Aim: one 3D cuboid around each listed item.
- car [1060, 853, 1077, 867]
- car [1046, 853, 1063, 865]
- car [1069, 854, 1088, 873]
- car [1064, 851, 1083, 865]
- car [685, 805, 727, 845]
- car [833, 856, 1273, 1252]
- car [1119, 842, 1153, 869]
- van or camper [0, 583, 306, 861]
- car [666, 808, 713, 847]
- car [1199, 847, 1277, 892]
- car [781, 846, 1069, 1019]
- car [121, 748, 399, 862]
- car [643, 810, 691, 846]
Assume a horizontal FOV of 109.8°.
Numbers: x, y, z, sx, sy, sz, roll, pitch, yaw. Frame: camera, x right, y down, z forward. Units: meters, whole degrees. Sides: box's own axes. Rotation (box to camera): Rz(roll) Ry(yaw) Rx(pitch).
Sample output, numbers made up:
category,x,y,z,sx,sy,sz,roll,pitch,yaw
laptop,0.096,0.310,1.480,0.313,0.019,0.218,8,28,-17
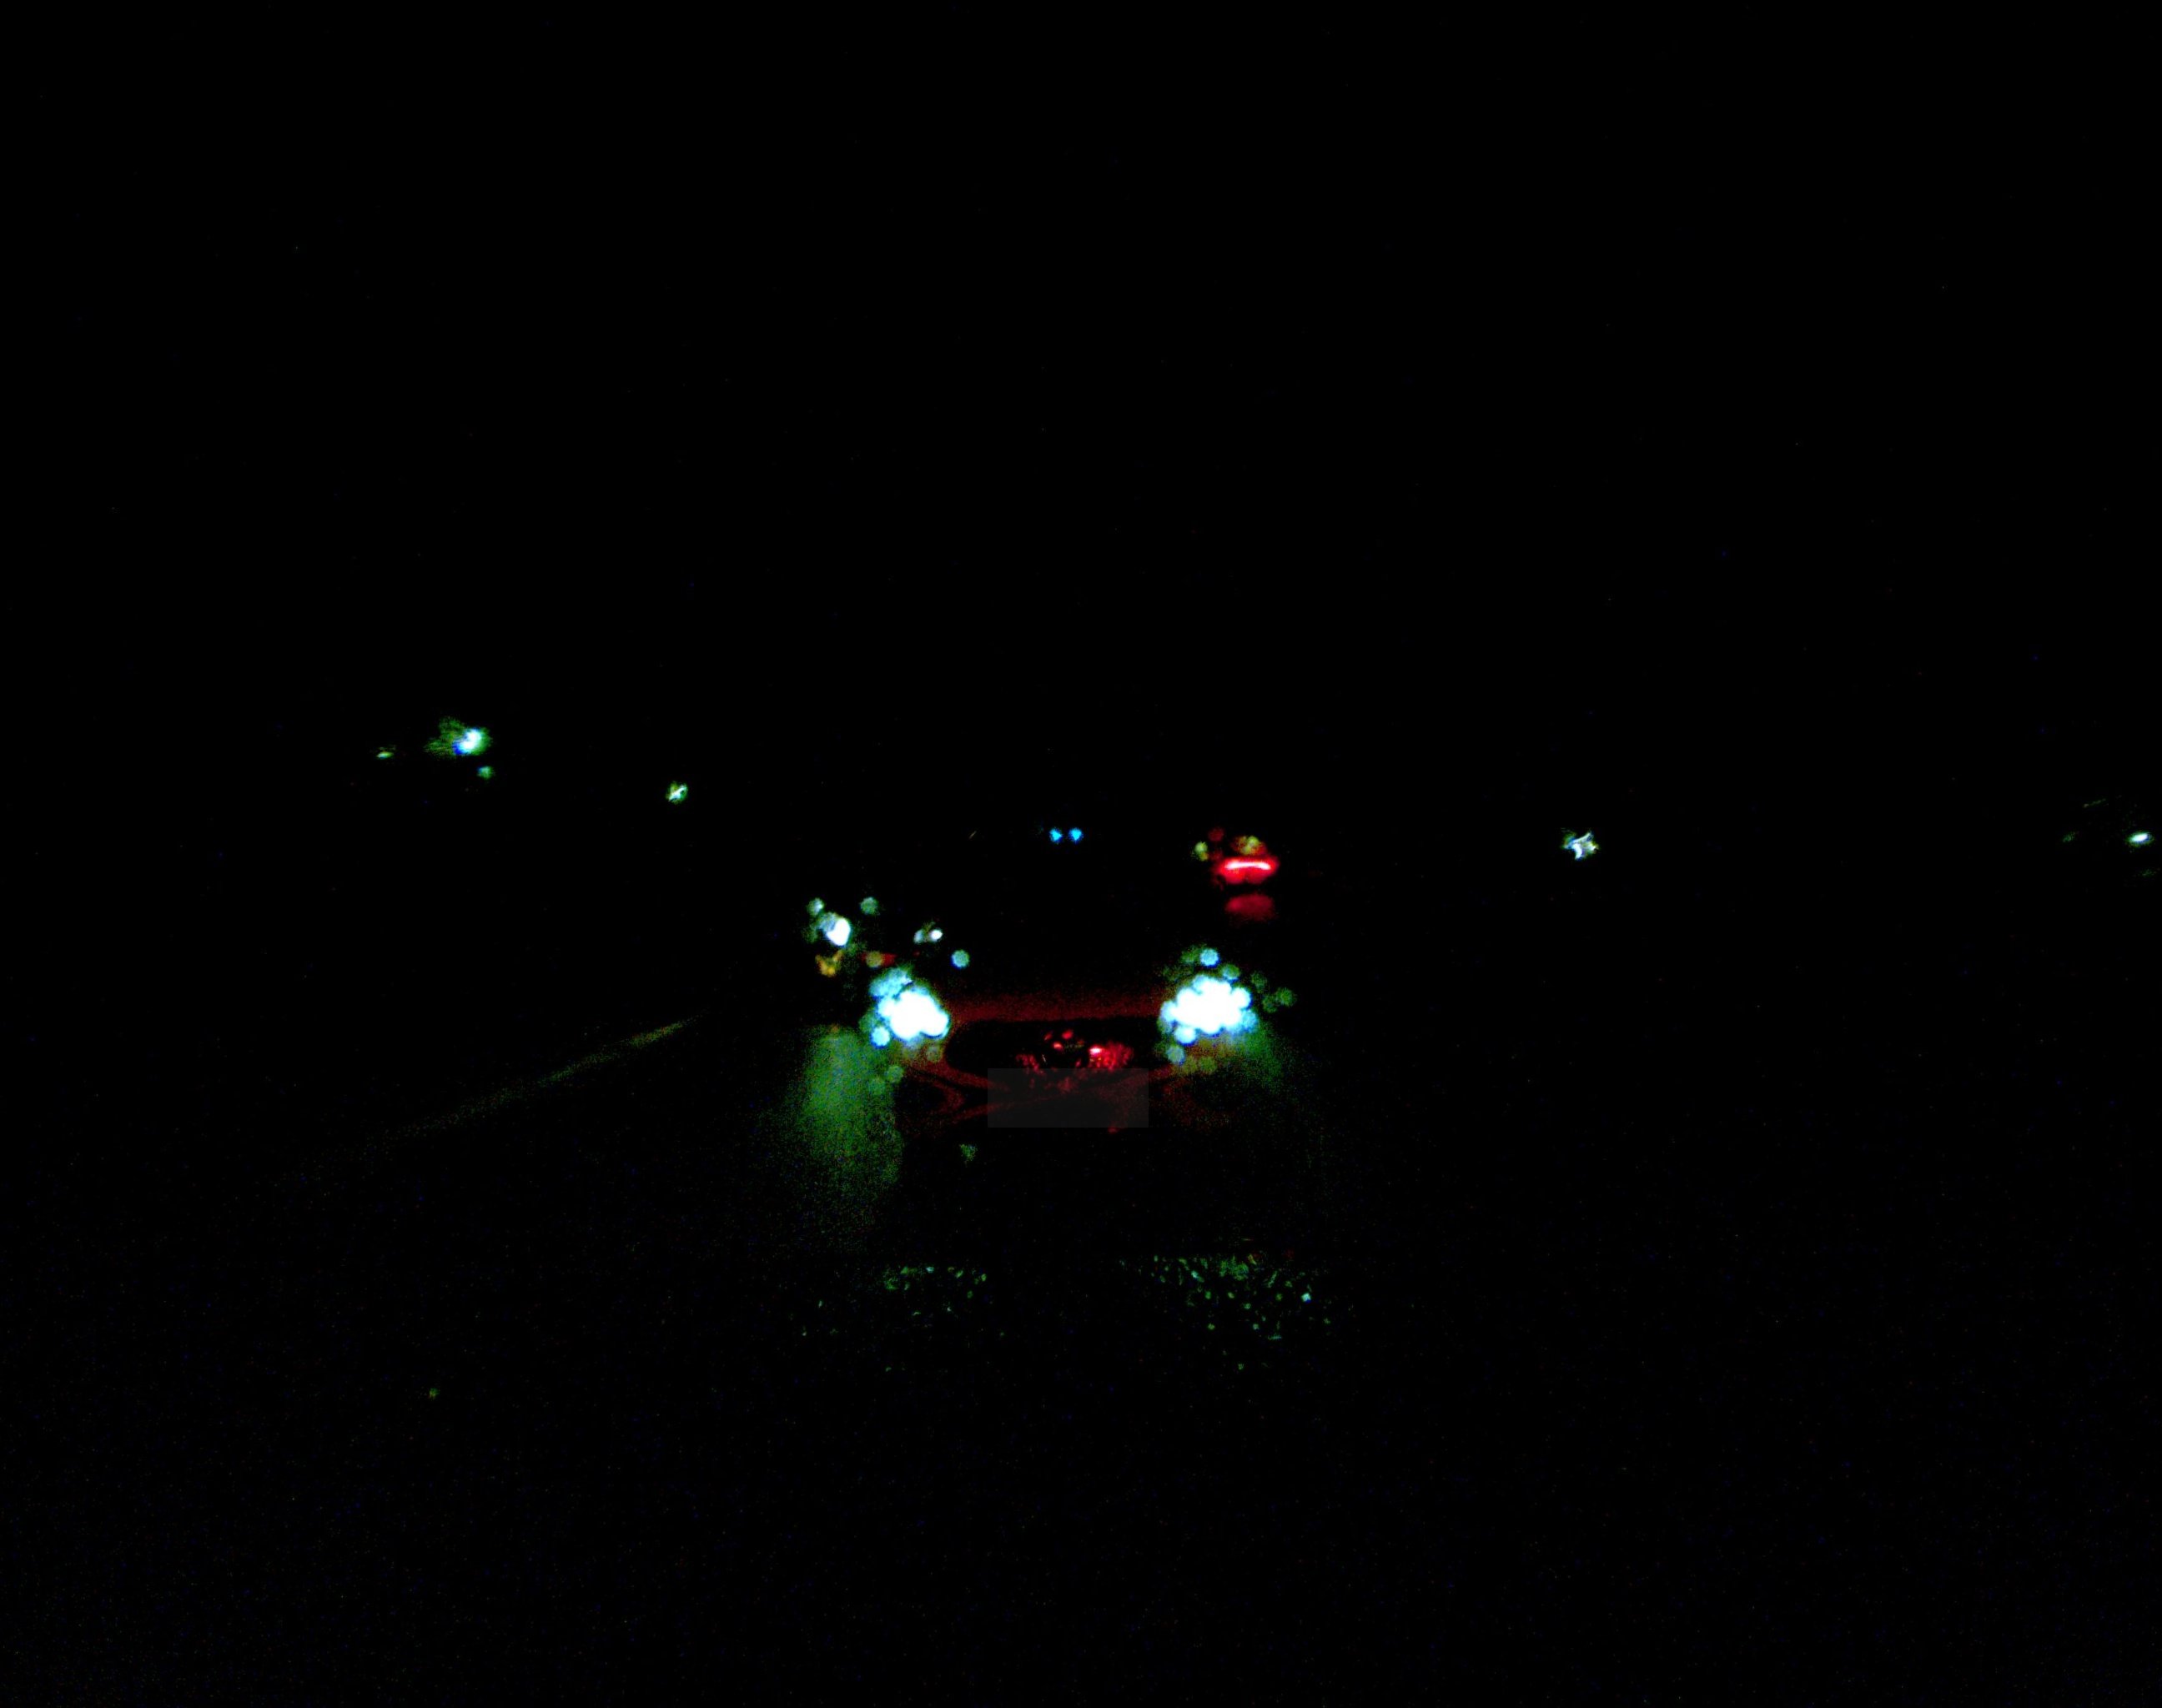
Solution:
category,x,y,z,sx,sy,sz,roll,pitch,yaw
car,-1.930,0.945,114.849,2.000,2.002,3.997,-2,1,-8
car,-4.420,0.840,126.616,2.092,2.002,4.708,-2,1,-12
car,-0.347,1.095,89.022,1.999,2.002,3.998,-2,1,-3
car,-1.010,0.486,99.657,2.000,1.687,3.997,-2,1,-6
car,-27.824,-2.144,56.513,1.937,2.759,4.249,-3,1,-16
car,-0.088,0.873,5.441,1.826,1.573,4.354,-2,1,1
car,4.369,0.070,60.611,2.090,2.002,4.711,-2,1,-3
van or camper,-12.766,-1.351,9.074,2.417,2.777,5.763,-3,1,-18
car,-26.351,-1.727,51.311,1.937,2.406,4.249,-3,1,-16
car,6.039,0.608,29.759,1.893,1.559,4.485,-1,-1,-2
car,-1.726,0.821,10.449,1.837,1.725,4.945,-2,1,14
car,-16.402,-0.906,15.559,2.001,2.002,3.994,-3,1,-16
car,-25.034,-1.517,46.070,1.735,2.002,3.696,-3,1,-16
